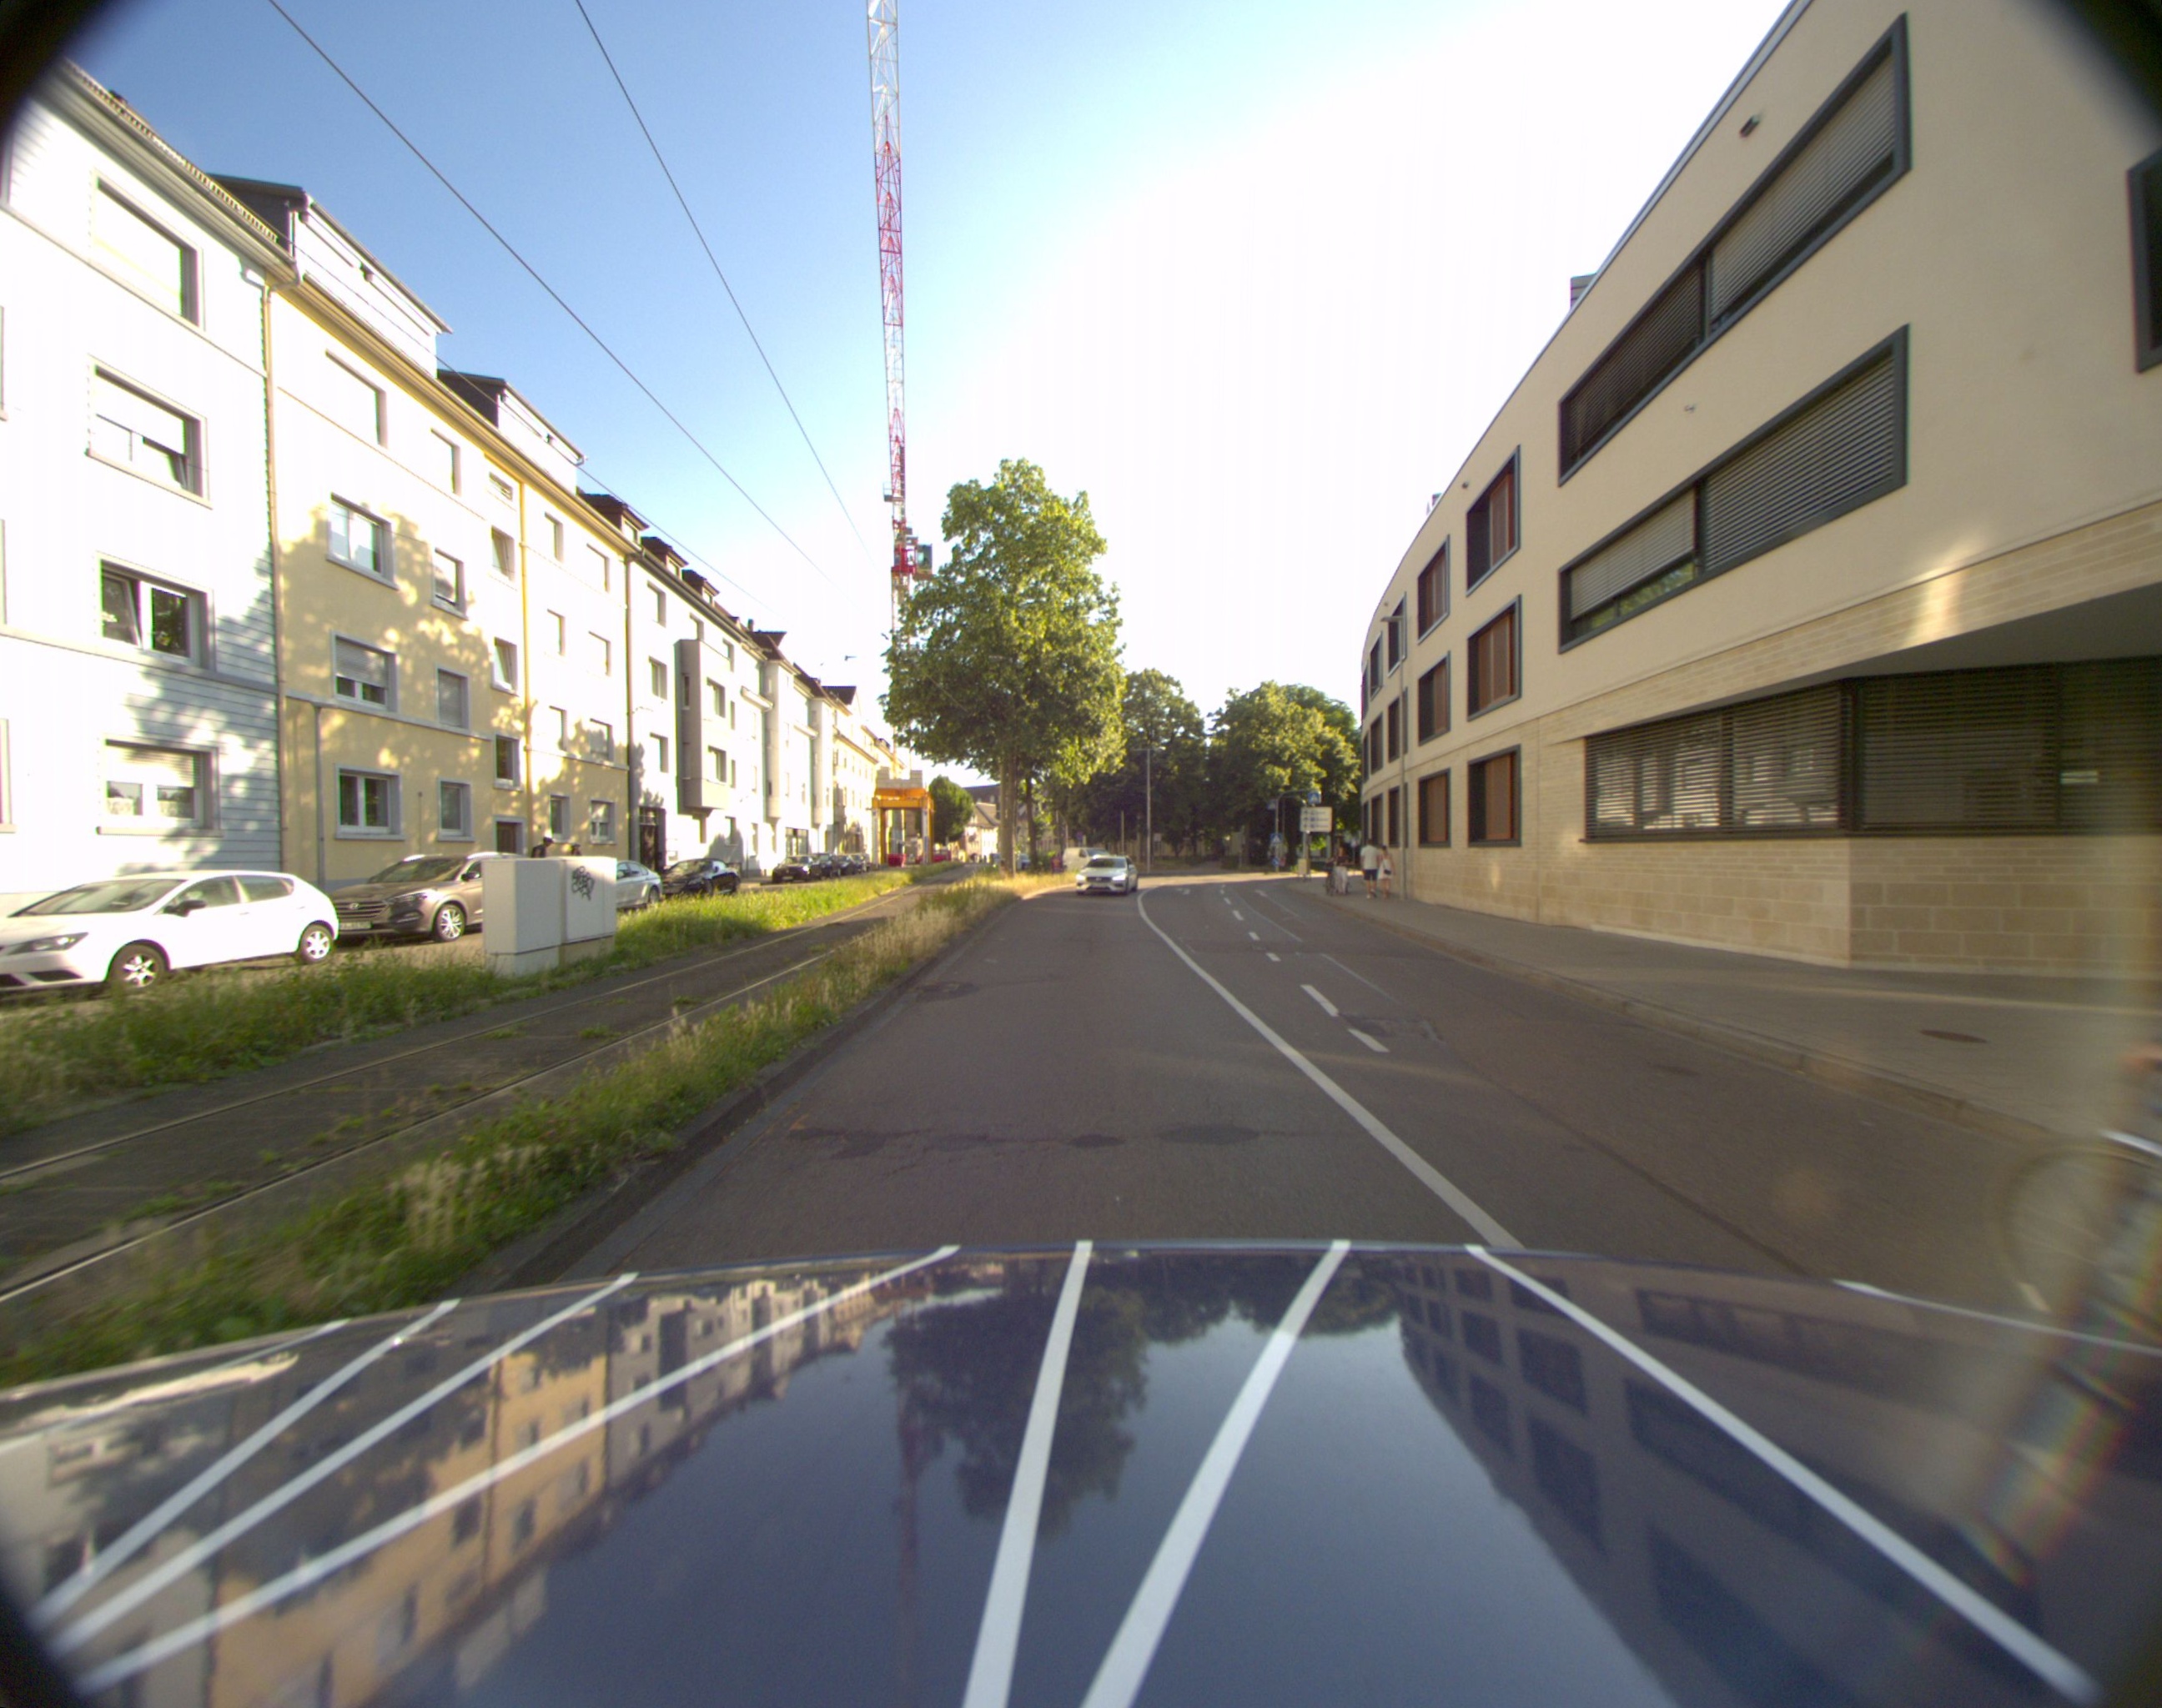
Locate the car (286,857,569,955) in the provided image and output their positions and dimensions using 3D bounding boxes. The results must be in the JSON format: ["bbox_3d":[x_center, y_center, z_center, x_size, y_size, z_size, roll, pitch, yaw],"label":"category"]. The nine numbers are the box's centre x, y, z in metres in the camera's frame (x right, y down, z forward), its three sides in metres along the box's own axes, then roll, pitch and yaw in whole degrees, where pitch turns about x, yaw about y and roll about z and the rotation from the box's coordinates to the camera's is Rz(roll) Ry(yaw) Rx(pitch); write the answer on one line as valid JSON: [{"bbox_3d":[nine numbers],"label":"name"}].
[{"bbox_3d":[-12.552,0.879,15.115,2.000,1.563,4.637,0,1,-7],"label":"car"}]

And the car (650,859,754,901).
[{"bbox_3d":[-13.542,0.887,27.454,2.000,1.378,4.443,0,0,-7],"label":"car"}]

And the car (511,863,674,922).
[{"bbox_3d":[-13.121,0.964,20.787,2.000,1.378,4.443,0,0,-7],"label":"car"}]

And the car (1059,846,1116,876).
[{"bbox_3d":[0.349,0.444,49.855,2.002,1.843,4.893,0,0,-22],"label":"car"}]

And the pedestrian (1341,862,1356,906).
[{"bbox_3d":[9.678,1.078,27.495,0.474,1.556,0.603,1,1,18],"label":"pedestrian"}]

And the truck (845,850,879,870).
[{"bbox_3d":[-17.841,0.516,61.978,2.000,1.576,4.095,0,0,-7],"label":"truck"}]

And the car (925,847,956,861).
[{"bbox_3d":[-18.886,0.022,102.052,4.072,1.910,1.998,0,0,-9],"label":"car"}]

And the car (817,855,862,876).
[{"bbox_3d":[-16.316,0.745,51.487,1.999,1.378,4.208,0,0,-4],"label":"car"}]

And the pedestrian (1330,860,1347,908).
[{"bbox_3d":[8.956,1.046,26.414,0.474,1.637,0.603,-2,0,18],"label":"pedestrian"}]

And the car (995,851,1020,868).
[{"bbox_3d":[-6.532,0.476,67.350,2.000,1.510,4.069,0,0,-8],"label":"car"}]

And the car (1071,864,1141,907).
[{"bbox_3d":[1.033,1.111,28.871,1.851,1.455,4.777,0,0,12],"label":"car"}]

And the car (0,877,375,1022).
[{"bbox_3d":[-11.996,1.051,9.888,2.000,1.378,4.442,0,0,-10],"label":"car"}]

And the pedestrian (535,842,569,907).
[{"bbox_3d":[-16.509,0.623,23.724,0.613,2.002,0.649,-1,1,-7],"label":"pedestrian"}]

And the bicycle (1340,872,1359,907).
[{"bbox_3d":[9.653,1.254,27.304,0.376,1.160,1.839,-1,-1,12],"label":"bicycle"}]

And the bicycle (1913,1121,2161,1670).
[{"bbox_3d":[2.784,1.337,1.361,0.624,1.075,1.783,0,1,1],"label":"bicycle"}]

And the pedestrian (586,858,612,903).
[{"bbox_3d":[-15.503,0.839,24.452,0.525,1.432,0.461,-1,1,-6],"label":"pedestrian"}]

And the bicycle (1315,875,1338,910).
[{"bbox_3d":[8.630,1.335,26.751,0.441,1.171,1.968,-1,-1,10],"label":"bicycle"}]

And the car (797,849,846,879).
[{"bbox_3d":[-15.777,0.615,46.429,2.000,1.738,4.207,0,0,-7],"label":"car"}]

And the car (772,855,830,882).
[{"bbox_3d":[-15.128,0.749,41.318,2.000,1.378,4.443,0,0,-7],"label":"car"}]

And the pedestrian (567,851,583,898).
[{"bbox_3d":[-16.465,0.661,24.739,0.305,1.506,0.442,0,1,-14],"label":"pedestrian"}]

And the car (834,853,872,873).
[{"bbox_3d":[-16.876,0.658,56.439,2.000,1.444,4.095,0,0,-7],"label":"car"}]

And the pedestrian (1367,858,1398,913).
[{"bbox_3d":[9.557,0.984,24.089,0.703,1.704,0.843,-1,1,7],"label":"pedestrian"}]

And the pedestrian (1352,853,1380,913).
[{"bbox_3d":[9.056,0.914,24.171,0.606,1.838,0.993,-1,1,7],"label":"pedestrian"}]
